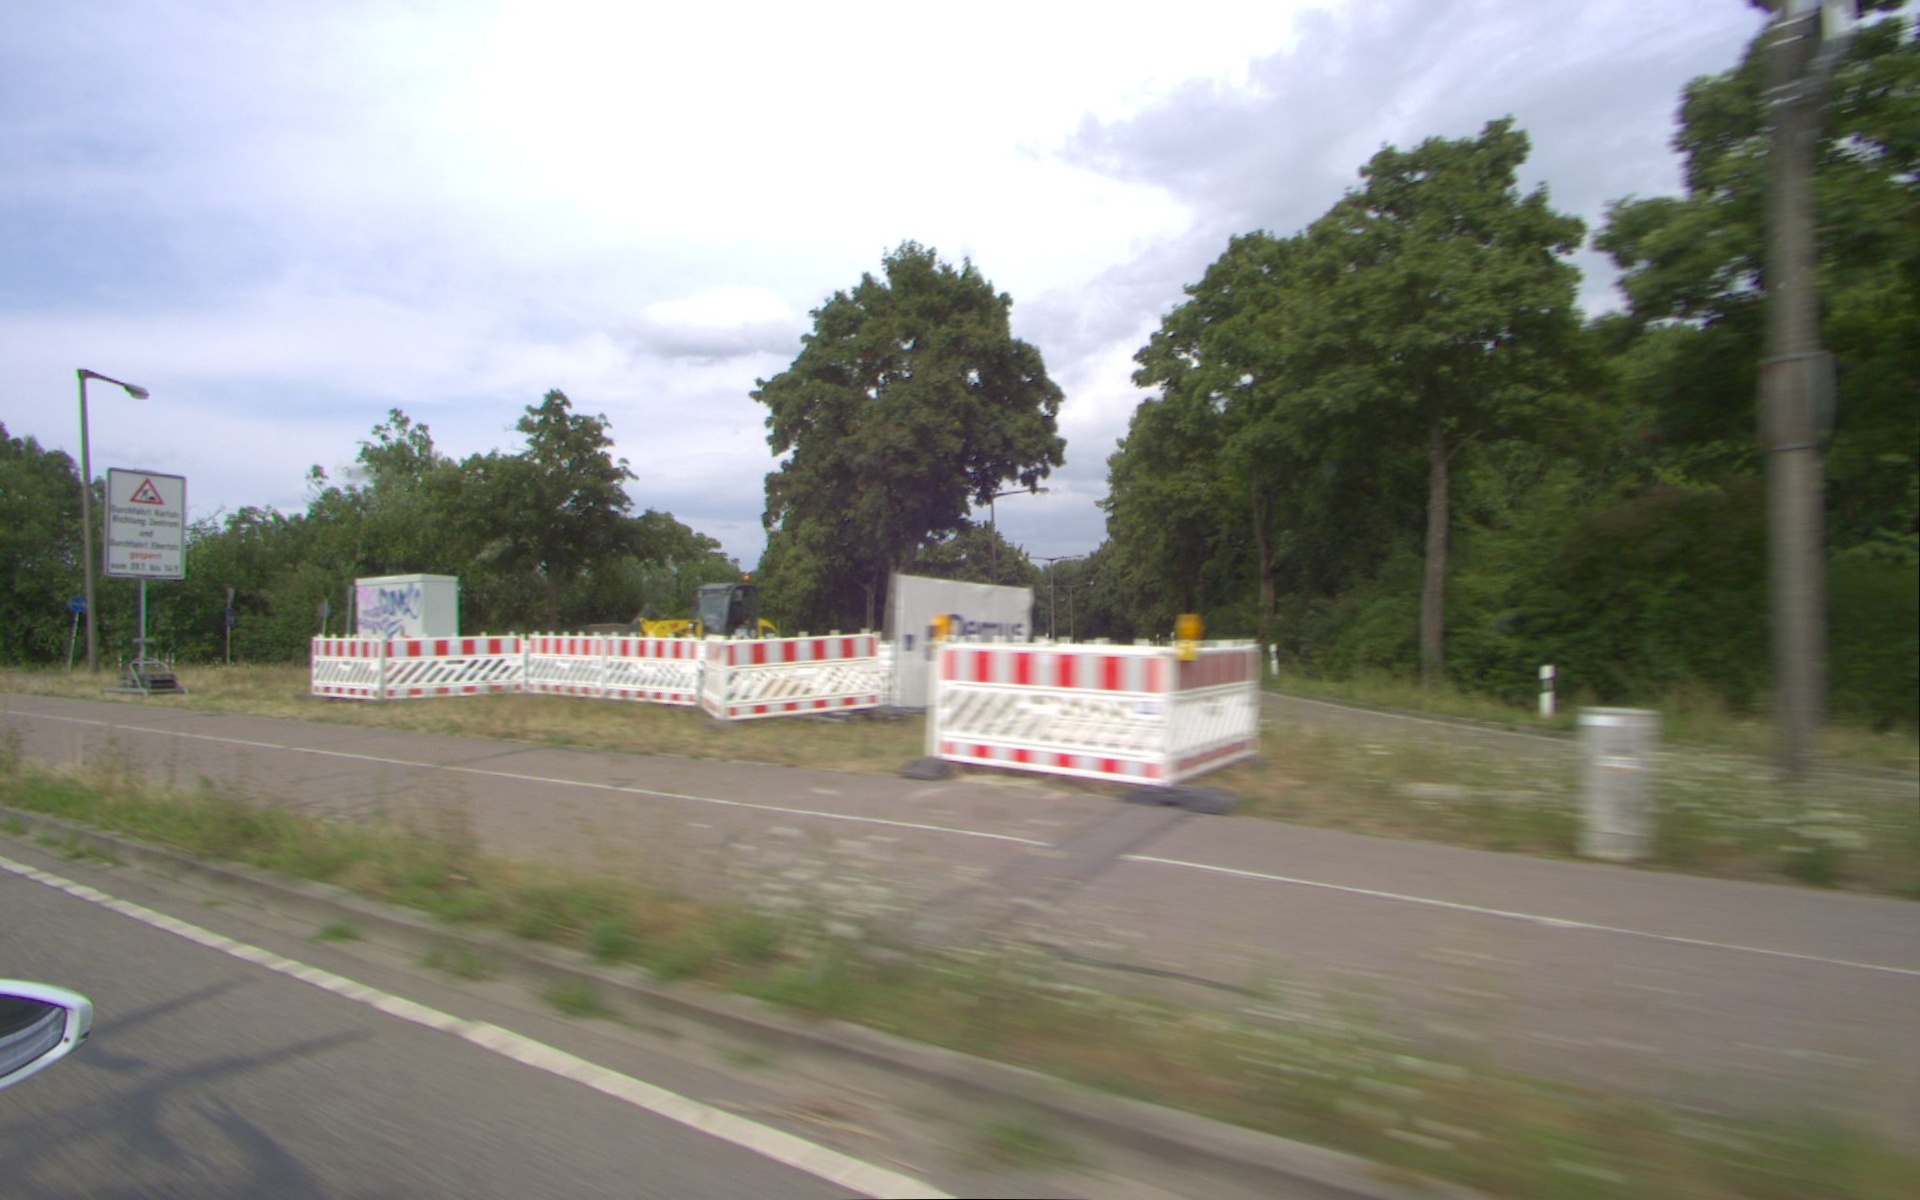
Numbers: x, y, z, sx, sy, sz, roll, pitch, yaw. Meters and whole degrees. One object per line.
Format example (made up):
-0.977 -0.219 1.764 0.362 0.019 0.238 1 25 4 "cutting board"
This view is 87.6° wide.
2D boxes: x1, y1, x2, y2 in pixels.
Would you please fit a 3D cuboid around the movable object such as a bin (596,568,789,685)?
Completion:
-6.765 0.714 25.723 2.075 2.723 4.487 -1 -2 37 "movable object such as a bin"
